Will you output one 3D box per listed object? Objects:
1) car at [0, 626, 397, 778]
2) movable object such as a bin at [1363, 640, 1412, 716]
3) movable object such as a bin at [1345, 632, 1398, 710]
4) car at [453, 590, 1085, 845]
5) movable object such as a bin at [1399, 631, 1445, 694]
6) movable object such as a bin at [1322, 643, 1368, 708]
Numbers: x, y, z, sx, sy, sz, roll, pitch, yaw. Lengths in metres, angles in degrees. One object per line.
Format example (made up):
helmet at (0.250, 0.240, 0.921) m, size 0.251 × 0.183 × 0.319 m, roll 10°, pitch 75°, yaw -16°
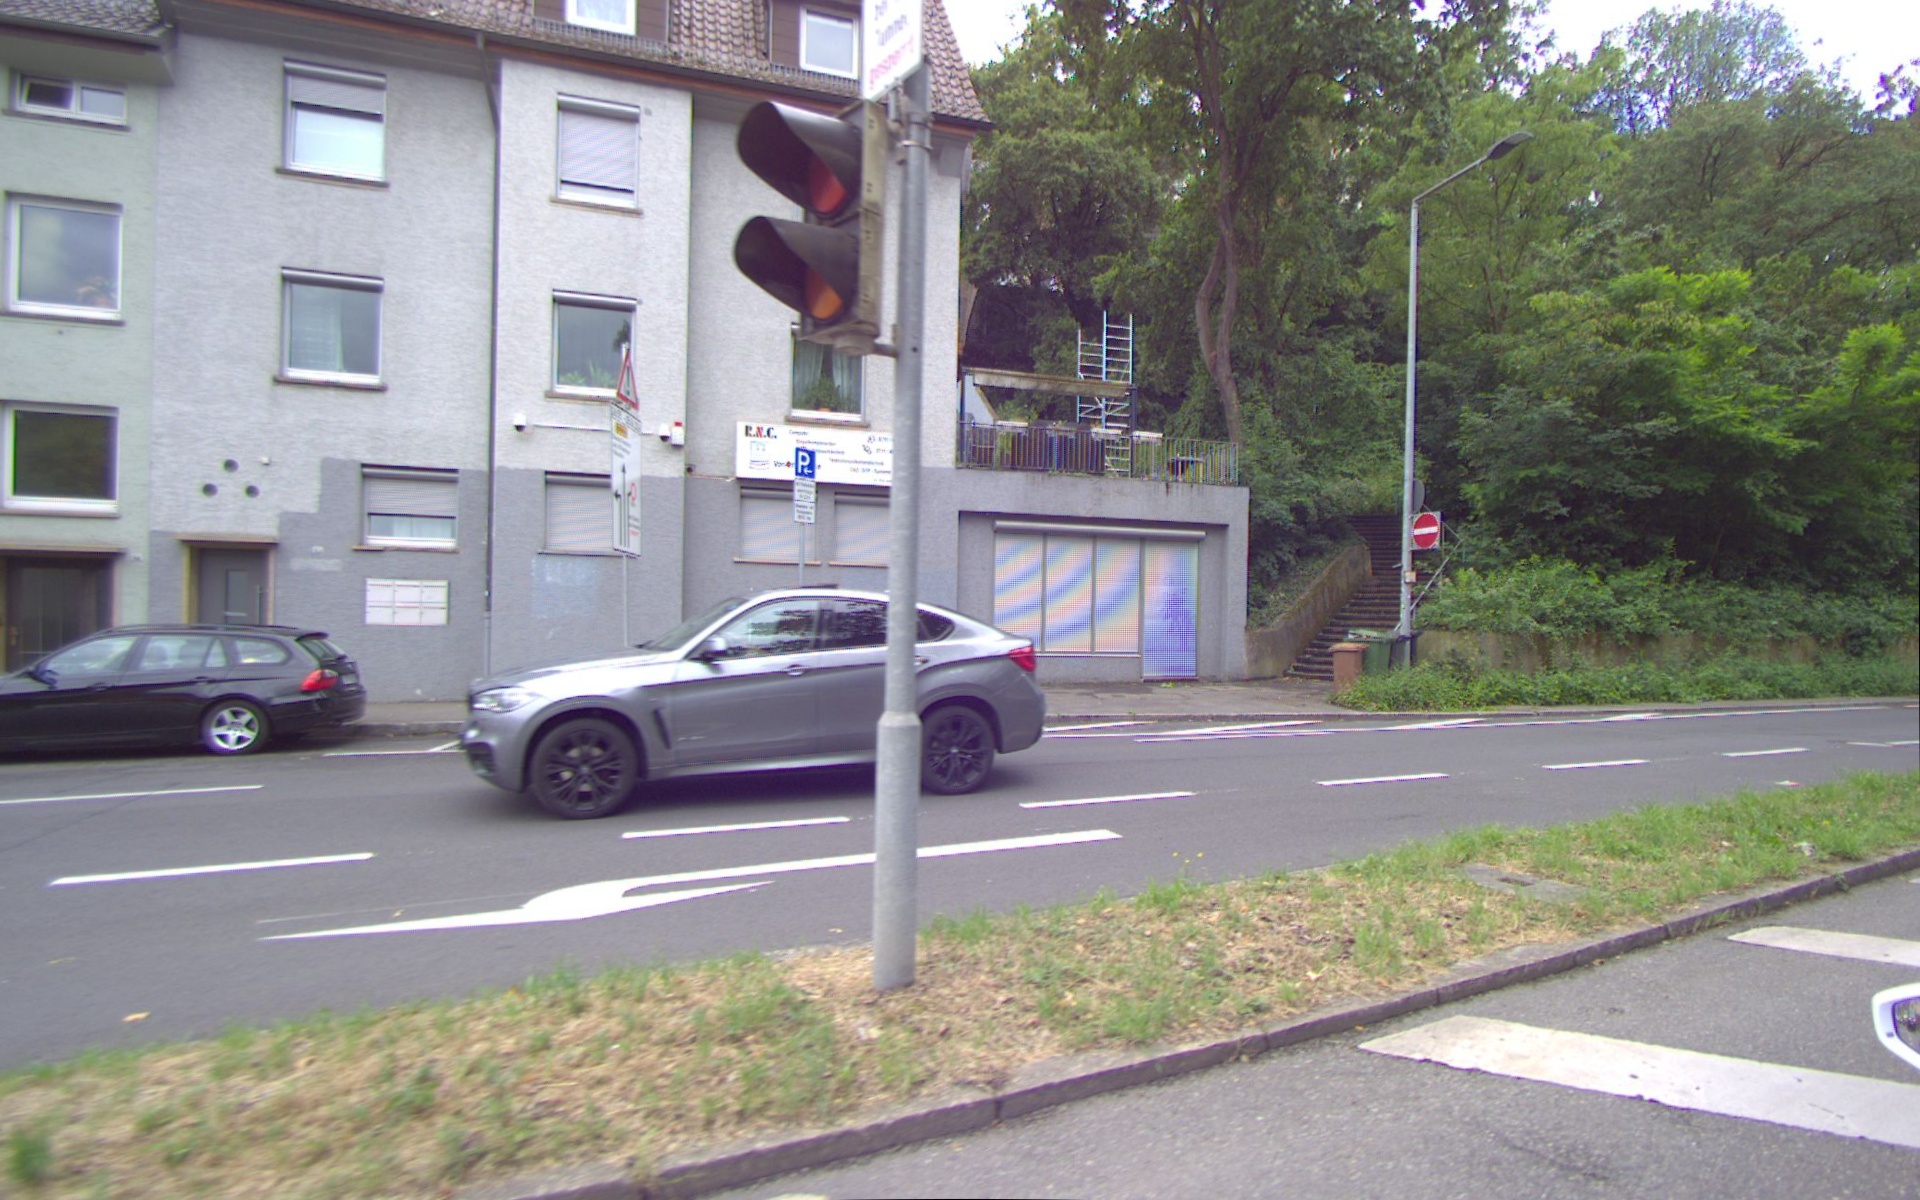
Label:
car at (-9.259, 1.110, 11.594) m, size 4.445 × 1.419 × 1.993 m, roll -2°, pitch 0°, yaw -18°
movable object such as a bin at (7.150, 1.291, 16.806) m, size 0.426 × 1.202 × 0.577 m, roll -1°, pitch 3°, yaw -33°
movable object such as a bin at (6.752, 1.157, 16.504) m, size 0.487 × 1.202 × 0.601 m, roll -1°, pitch 3°, yaw -33°
car at (-1.514, 0.803, 8.576) m, size 4.864 × 1.721 × 1.866 m, roll 0°, pitch 0°, yaw -22°
movable object such as a bin at (8.079, 1.086, 17.563) m, size 0.426 × 1.039 × 0.552 m, roll -1°, pitch 3°, yaw -33°
movable object such as a bin at (6.230, 1.215, 16.278) m, size 0.440 × 0.980 × 0.513 m, roll -1°, pitch 3°, yaw -33°
